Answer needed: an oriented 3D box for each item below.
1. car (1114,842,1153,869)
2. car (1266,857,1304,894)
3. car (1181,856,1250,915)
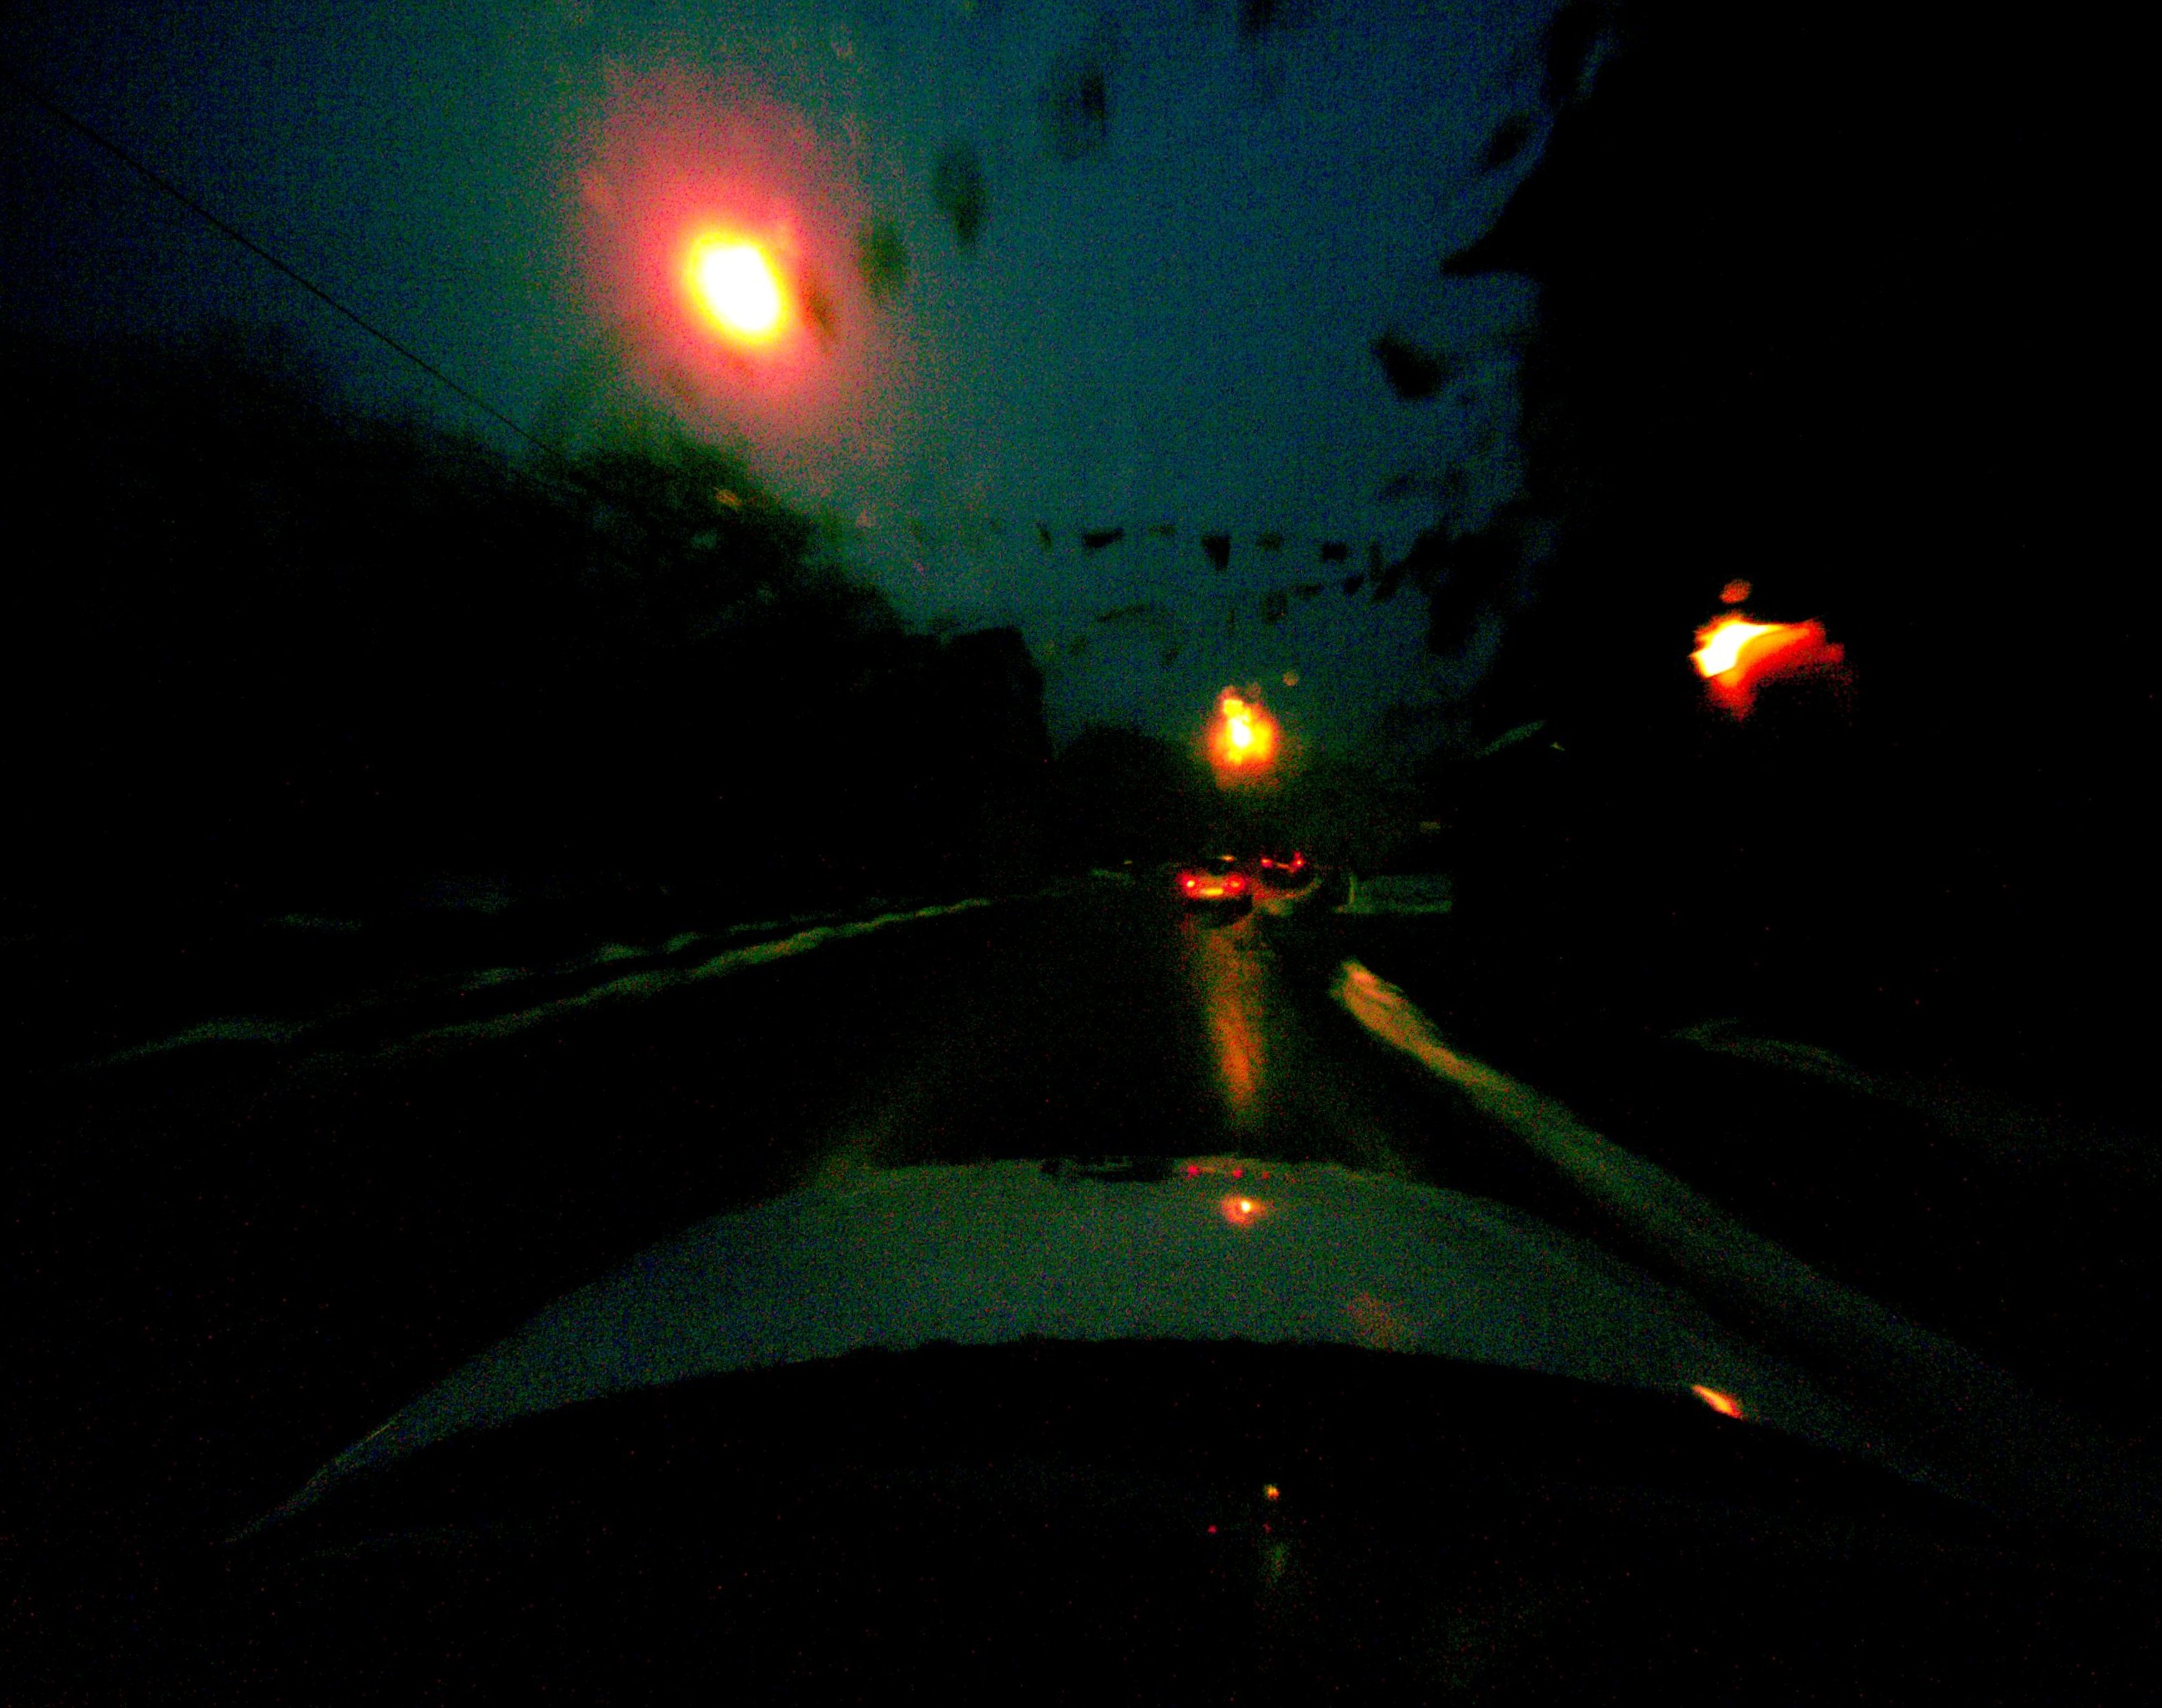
[{"bbox_3d":[3.105,0.108,47.711,1.862,1.504,4.011,1,0,10],"label":"car"},{"bbox_3d":[9.330,0.952,37.311,1.634,1.596,3.713,0,0,13],"label":"car"},{"bbox_3d":[4.031,0.853,23.985,1.633,1.596,3.714,0,0,15],"label":"car"}]
